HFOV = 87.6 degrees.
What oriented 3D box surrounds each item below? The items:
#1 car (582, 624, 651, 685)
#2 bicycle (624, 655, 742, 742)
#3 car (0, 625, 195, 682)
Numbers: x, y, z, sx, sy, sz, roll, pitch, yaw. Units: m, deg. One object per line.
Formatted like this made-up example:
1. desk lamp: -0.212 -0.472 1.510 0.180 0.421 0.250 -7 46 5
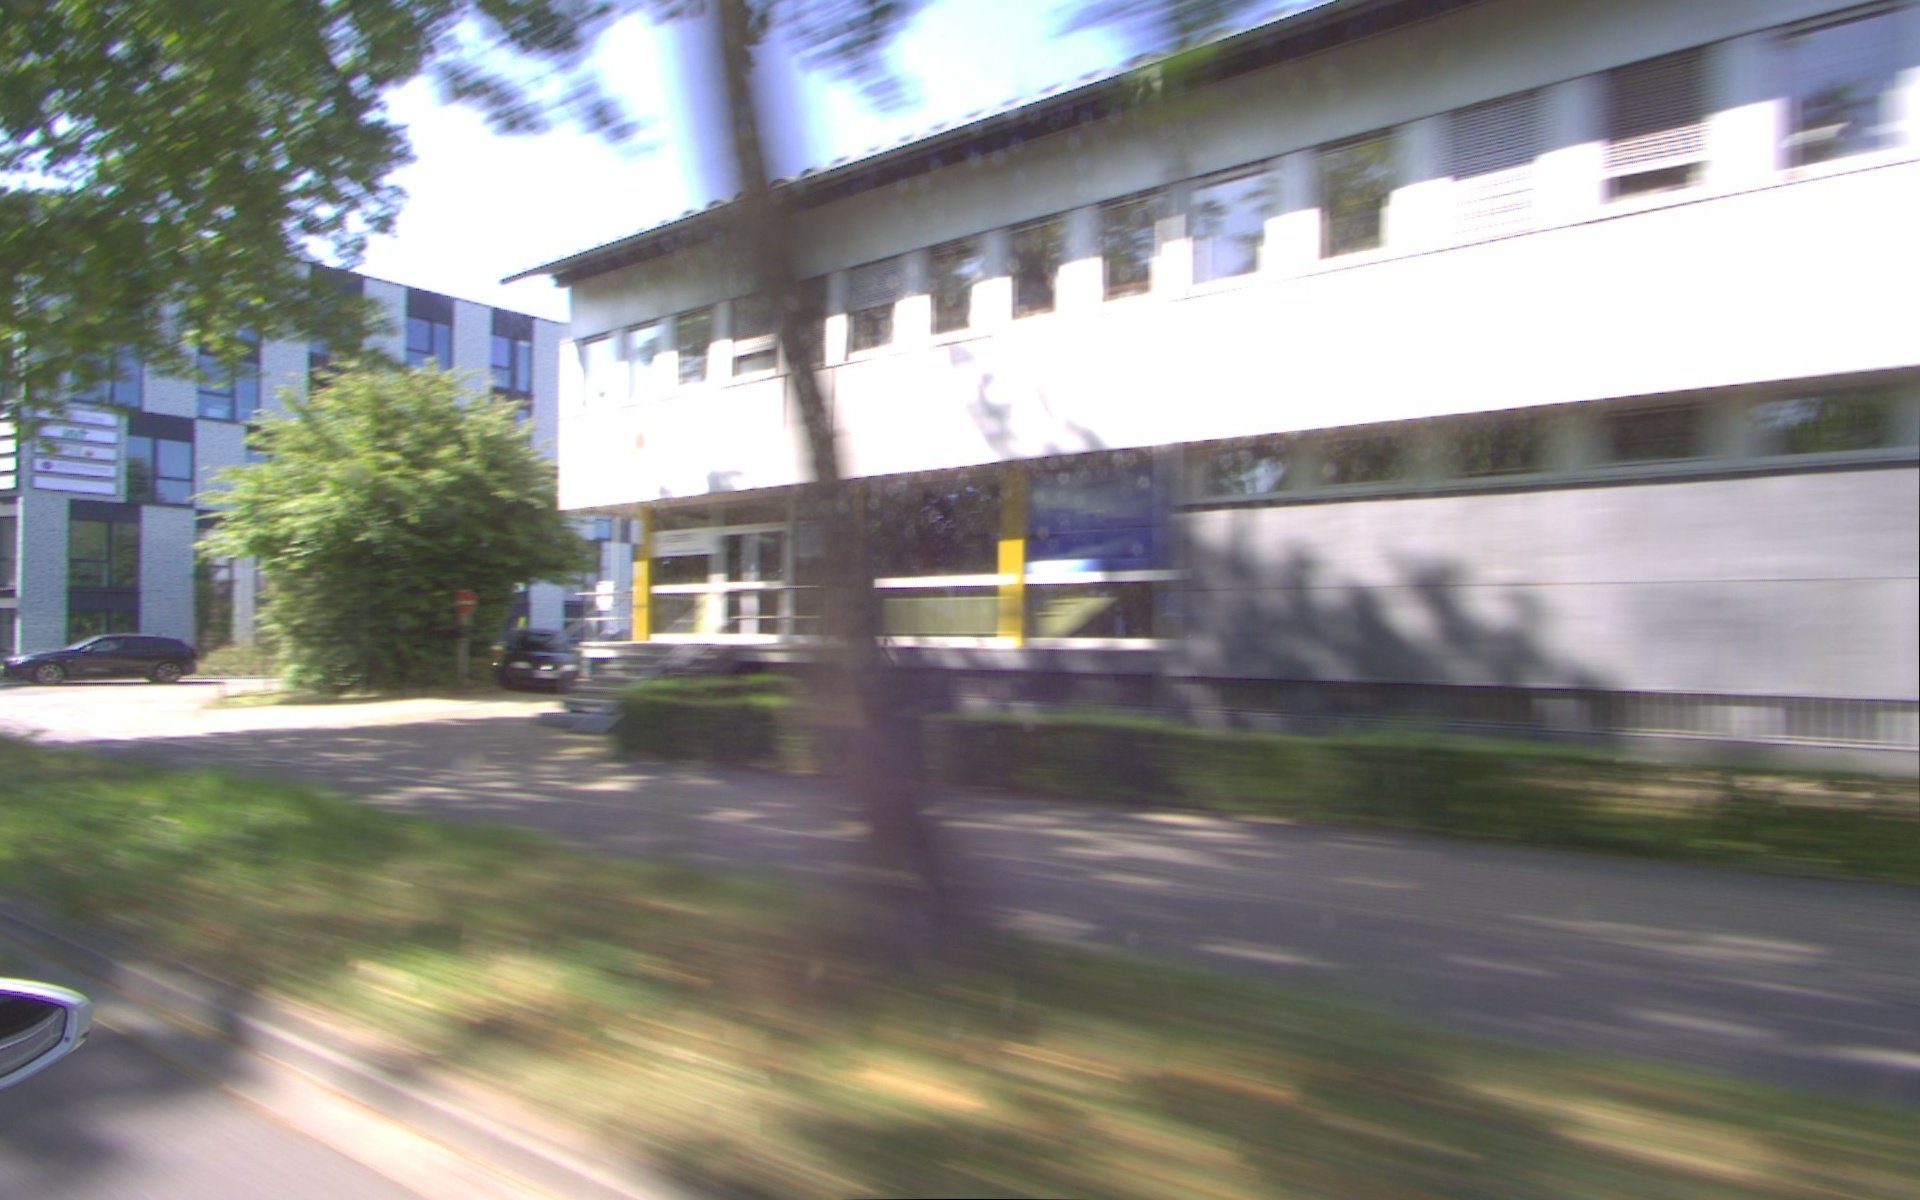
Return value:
1. car: -10.596 1.630 30.734 1.654 1.683 3.736 -1 -1 -24
2. bicycle: -4.070 1.418 14.790 0.503 1.145 1.661 -1 -1 42
3. car: -25.364 1.573 29.457 1.977 1.536 4.230 -1 -3 41
